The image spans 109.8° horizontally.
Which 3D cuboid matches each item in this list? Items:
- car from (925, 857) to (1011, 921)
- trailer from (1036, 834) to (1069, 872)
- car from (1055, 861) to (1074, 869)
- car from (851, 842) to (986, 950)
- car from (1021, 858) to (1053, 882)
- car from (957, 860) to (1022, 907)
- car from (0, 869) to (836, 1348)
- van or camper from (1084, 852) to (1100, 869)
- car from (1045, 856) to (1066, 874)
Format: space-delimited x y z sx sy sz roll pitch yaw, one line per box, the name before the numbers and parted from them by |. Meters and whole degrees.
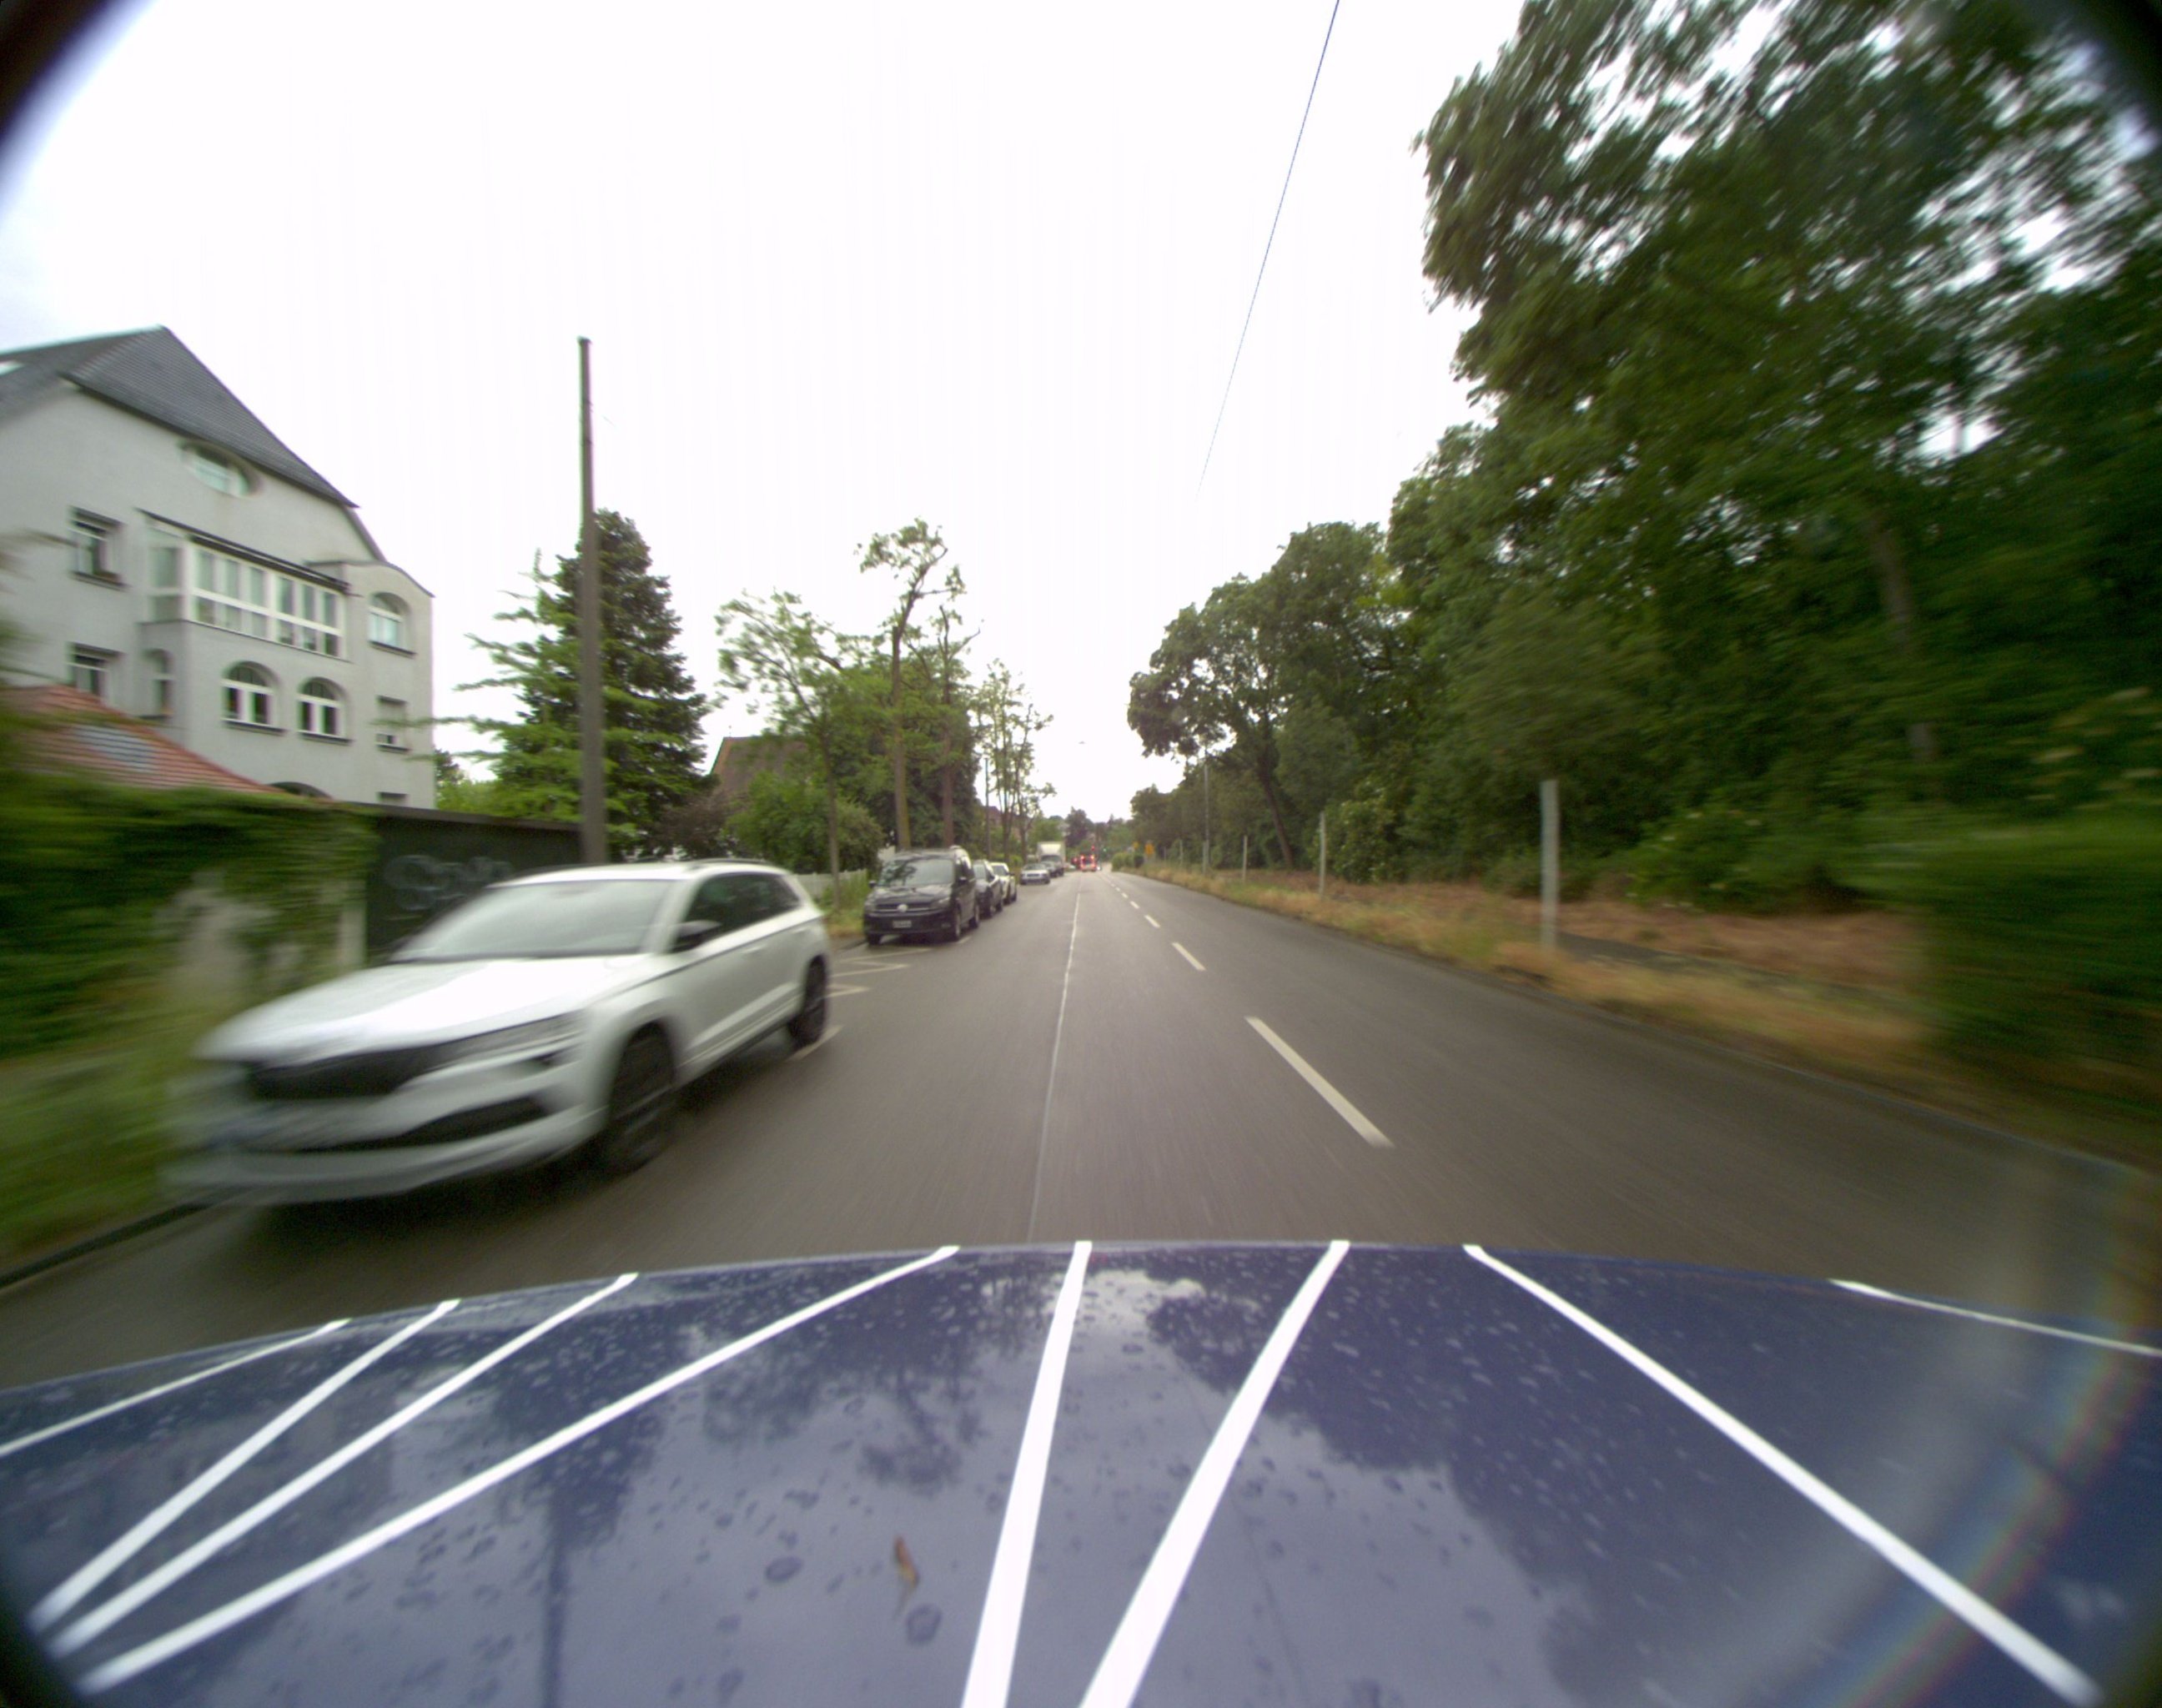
car | -3.066 0.902 21.311 1.683 1.546 4.076 -3 0 1
trailer | -2.783 -0.057 76.609 2.741 3.487 8.247 -3 0 0
car | -4.572 3.192 212.648 5.049 1.967 2.001 -3 0 5
car | -3.133 0.768 15.568 1.734 1.836 4.230 -3 0 1
car | -2.754 1.015 48.426 1.786 1.387 4.000 -3 0 -1
car | -3.172 0.976 26.854 1.742 1.456 3.725 -3 0 1
car | -3.214 0.963 4.878 1.809 1.603 4.286 -3 0 0
van or camper | 2.291 1.220 152.086 2.862 3.159 6.852 -3 0 3
car | -2.216 0.977 66.601 1.645 1.455 4.000 -3 0 0
